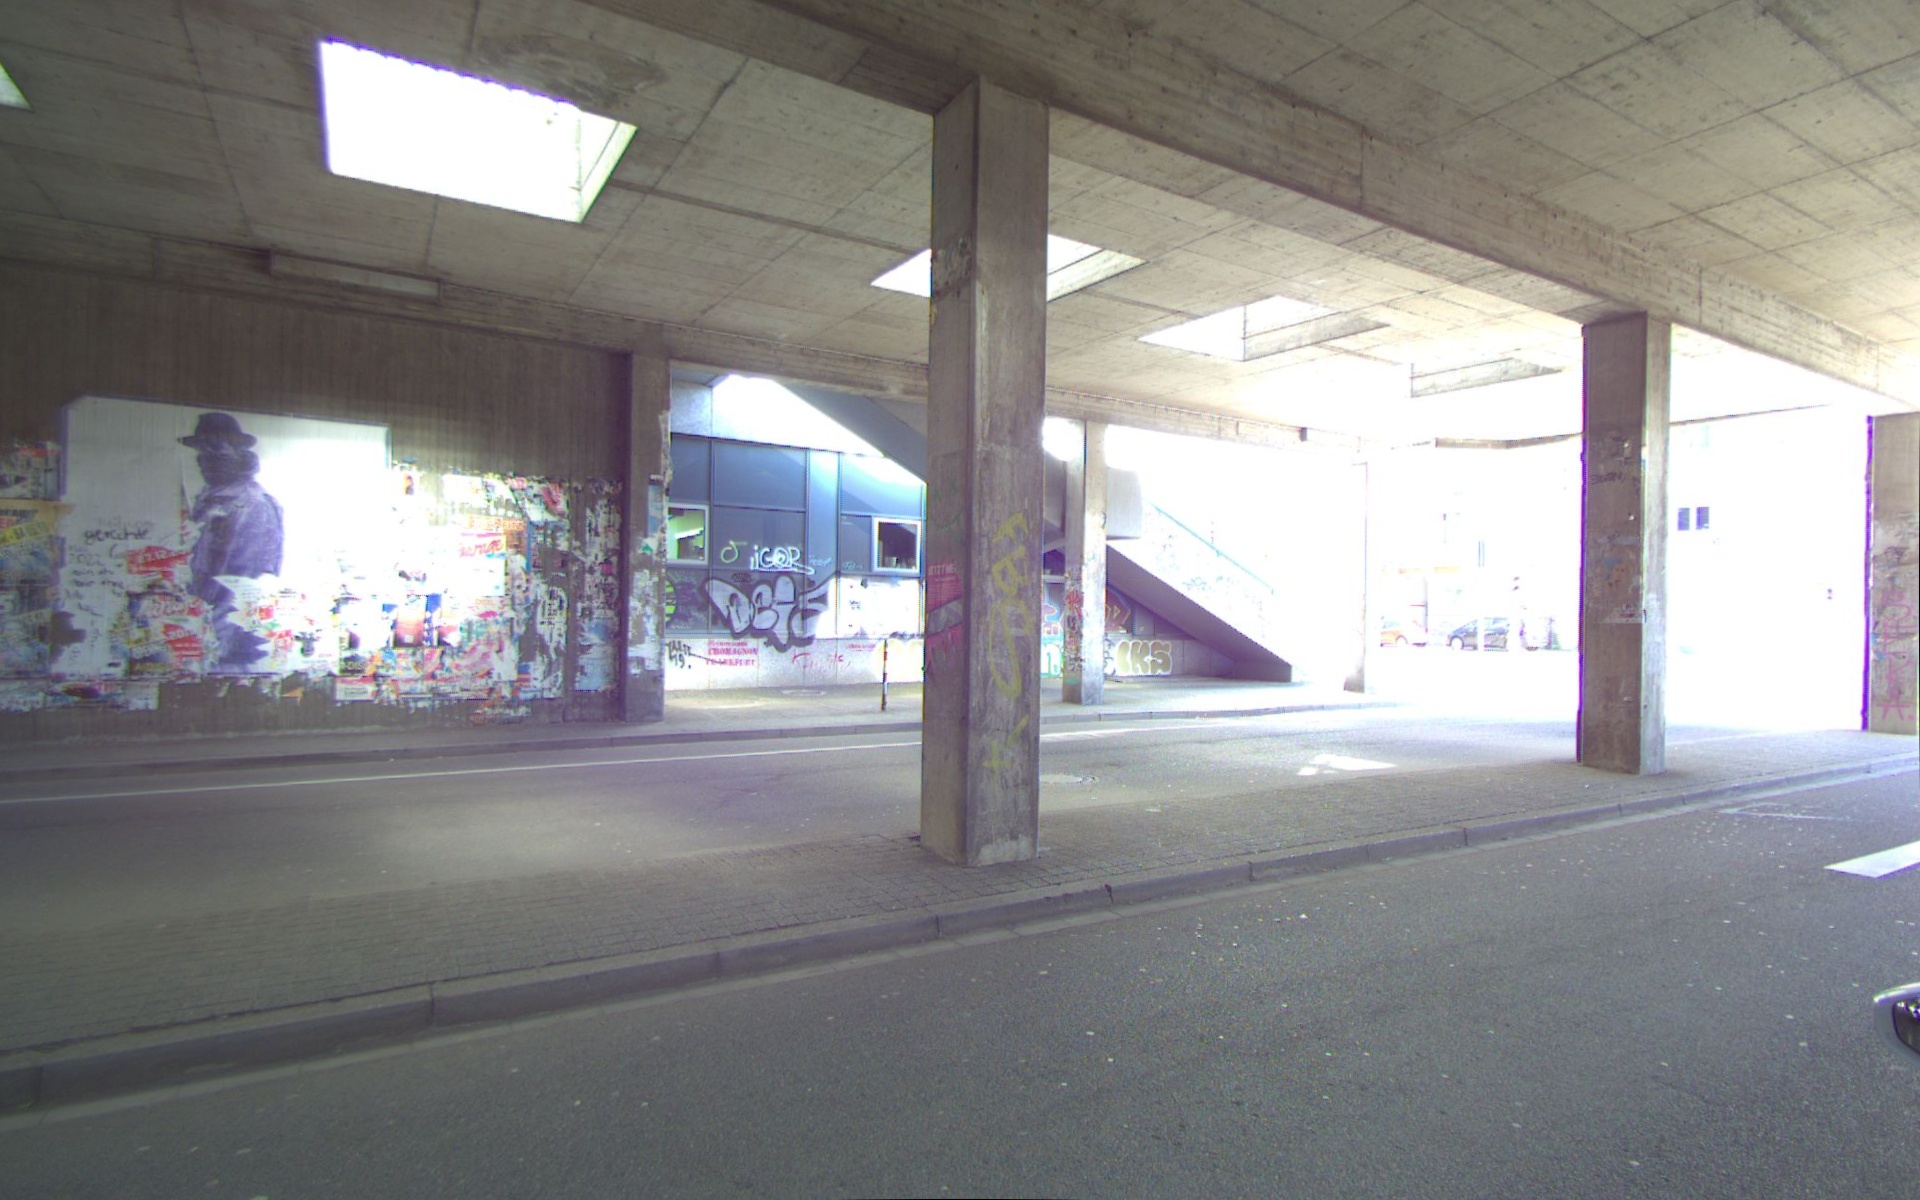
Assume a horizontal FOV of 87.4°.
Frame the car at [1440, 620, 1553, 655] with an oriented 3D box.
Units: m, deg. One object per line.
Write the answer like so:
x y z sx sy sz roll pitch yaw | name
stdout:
25.449 1.767 47.826 1.905 1.428 4.382 2 0 -32 | car

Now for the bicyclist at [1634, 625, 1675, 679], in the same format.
18.593 1.386 26.894 0.446 1.394 0.743 2 0 -27 | bicyclist

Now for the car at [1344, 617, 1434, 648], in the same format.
22.488 1.700 52.785 1.905 1.428 3.965 2 0 -32 | car

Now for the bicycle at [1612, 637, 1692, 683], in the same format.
18.563 1.587 26.973 0.470 1.133 1.734 2 0 -27 | bicycle
